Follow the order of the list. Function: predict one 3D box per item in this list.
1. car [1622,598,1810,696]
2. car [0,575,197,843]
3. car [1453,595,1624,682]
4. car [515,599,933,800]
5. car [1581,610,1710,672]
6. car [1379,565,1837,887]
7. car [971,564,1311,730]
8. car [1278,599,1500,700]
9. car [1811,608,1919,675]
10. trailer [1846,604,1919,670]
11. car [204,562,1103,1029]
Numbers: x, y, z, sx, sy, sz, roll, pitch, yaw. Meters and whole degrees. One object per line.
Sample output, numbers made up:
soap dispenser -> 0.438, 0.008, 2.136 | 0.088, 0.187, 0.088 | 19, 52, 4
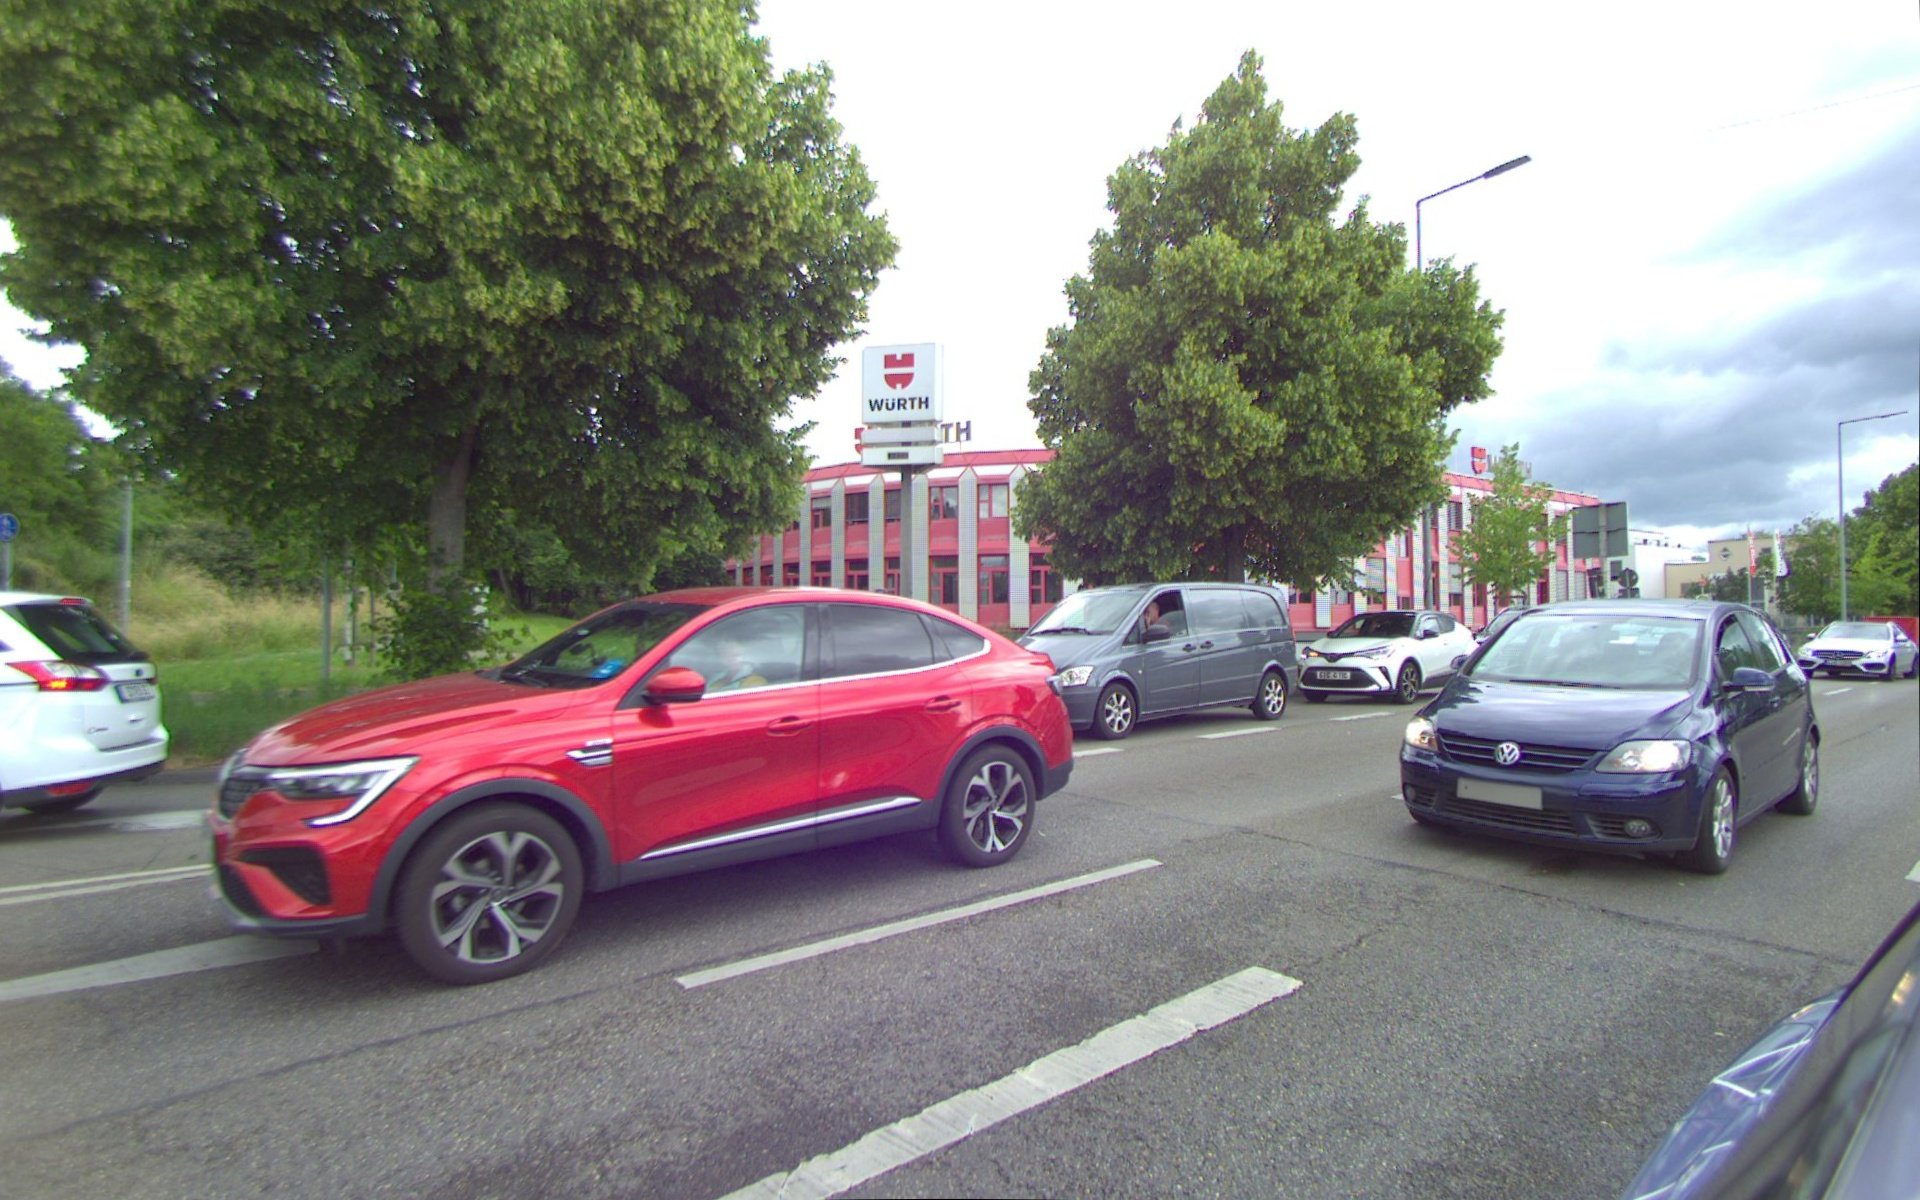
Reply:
car -> 13.888, 0.755, 18.510 | 4.142, 1.549, 1.797 | -1, 0, -39
car -> -7.865, 0.691, 6.589 | 4.278, 1.676, 1.767 | 0, -1, -20
car -> 12.388, 0.804, 21.579 | 4.133, 1.679, 1.863 | 1, -3, -41
car -> -2.155, 0.771, 9.523 | 3.495, 1.525, 1.608 | -1, 0, -34
car -> 17.962, 1.009, 26.442 | 4.293, 1.458, 1.761 | 0, -1, -41
car -> 4.651, 0.609, 7.026 | 3.927, 1.618, 1.667 | -1, 0, -41
car -> 2.470, 0.591, 13.129 | 4.591, 1.798, 1.761 | 1, -4, -40
car -> 7.402, 0.799, 17.319 | 4.034, 1.536, 1.842 | 0, -4, -41
car -> 23.195, 0.992, 25.666 | 4.323, 1.469, 1.774 | -1, 1, -40
trailer -> 26.350, 0.971, 28.316 | 3.926, 1.680, 1.774 | -1, 0, -40
car -> -1.345, 0.648, 5.485 | 4.300, 1.549, 1.850 | 0, 0, -41
